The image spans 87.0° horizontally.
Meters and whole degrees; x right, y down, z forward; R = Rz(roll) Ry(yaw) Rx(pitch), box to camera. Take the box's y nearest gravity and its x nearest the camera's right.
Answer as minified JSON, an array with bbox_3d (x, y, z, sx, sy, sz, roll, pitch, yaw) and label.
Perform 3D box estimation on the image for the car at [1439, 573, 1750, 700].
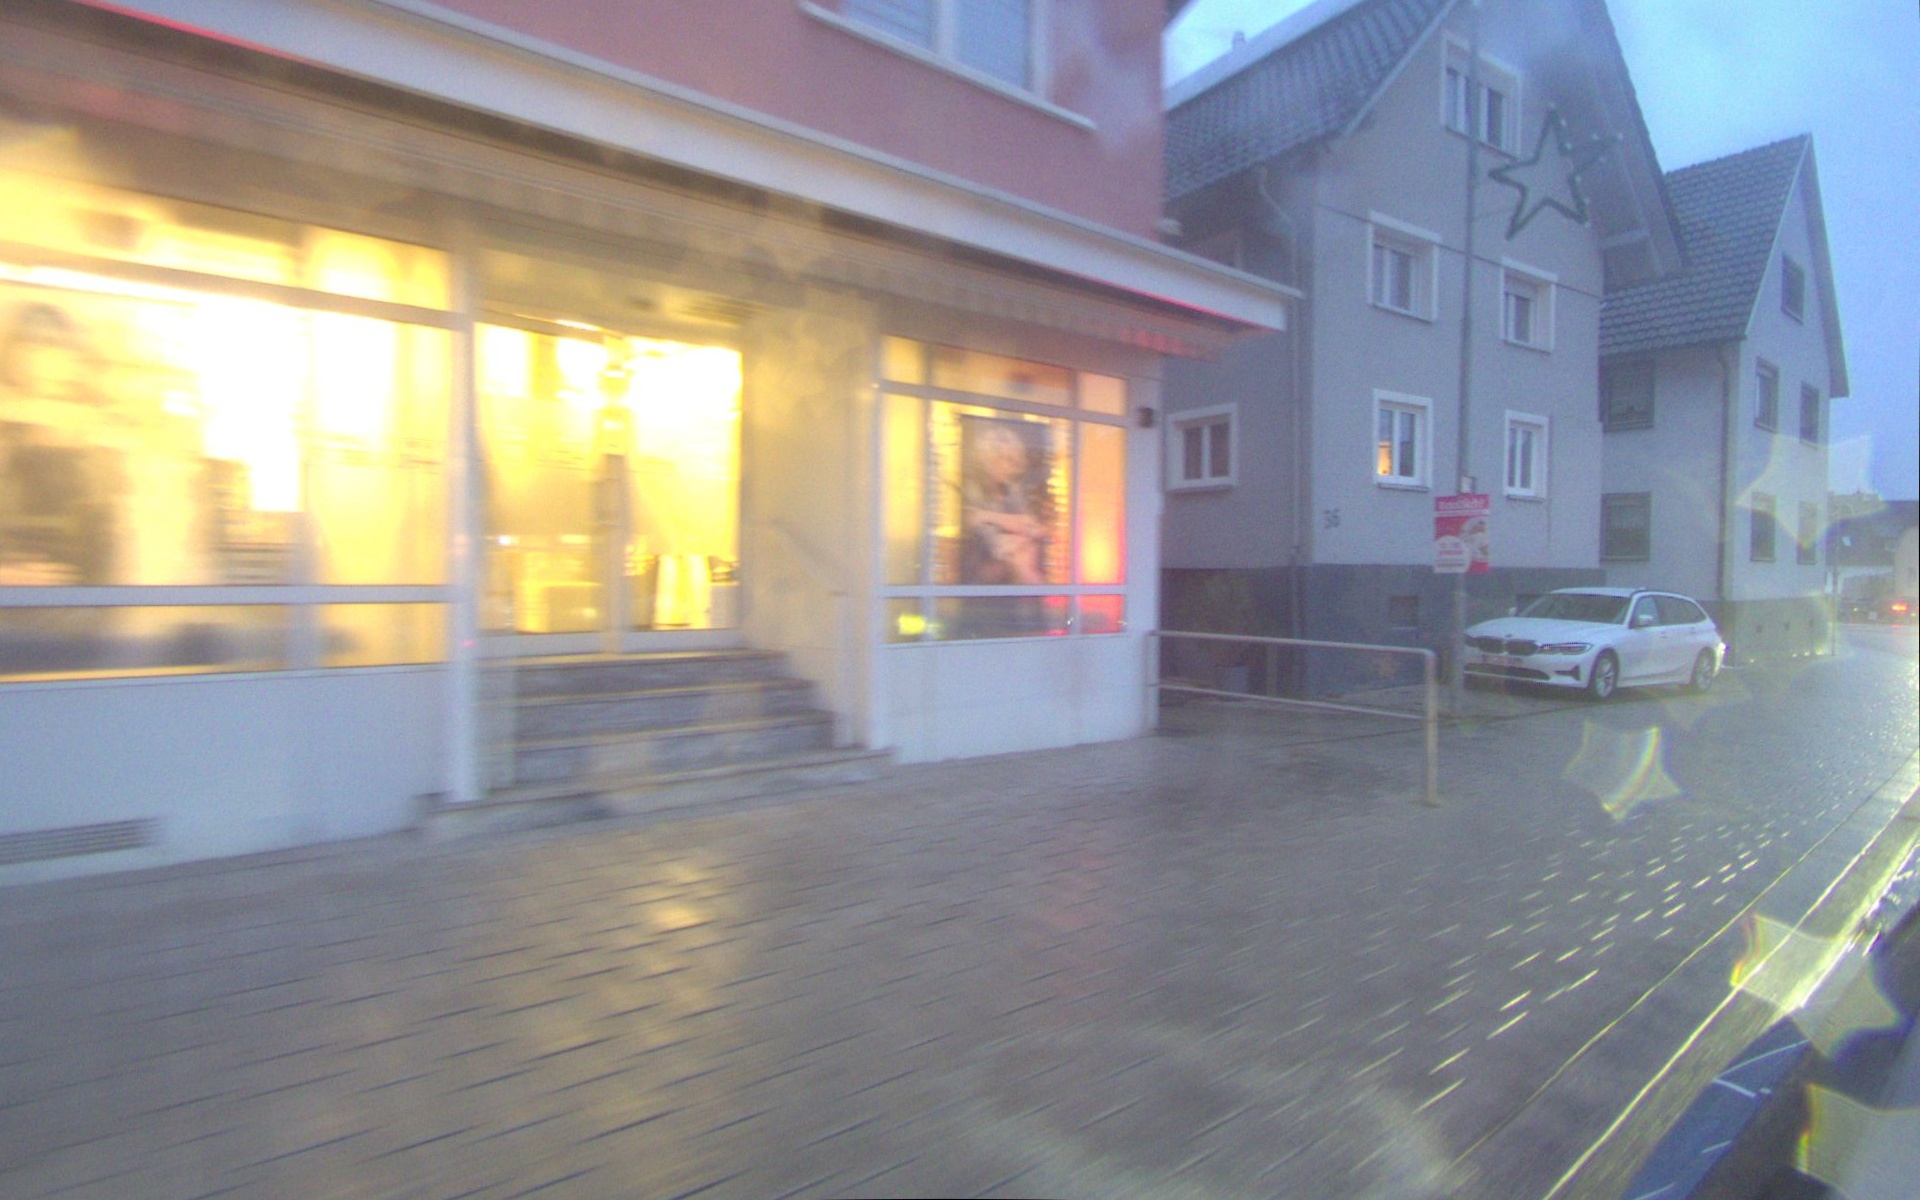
[{"bbox_3d":[8.930,0.399,14.134,4.605,1.504,1.937,-1,0,-33],"label":"car"}]
